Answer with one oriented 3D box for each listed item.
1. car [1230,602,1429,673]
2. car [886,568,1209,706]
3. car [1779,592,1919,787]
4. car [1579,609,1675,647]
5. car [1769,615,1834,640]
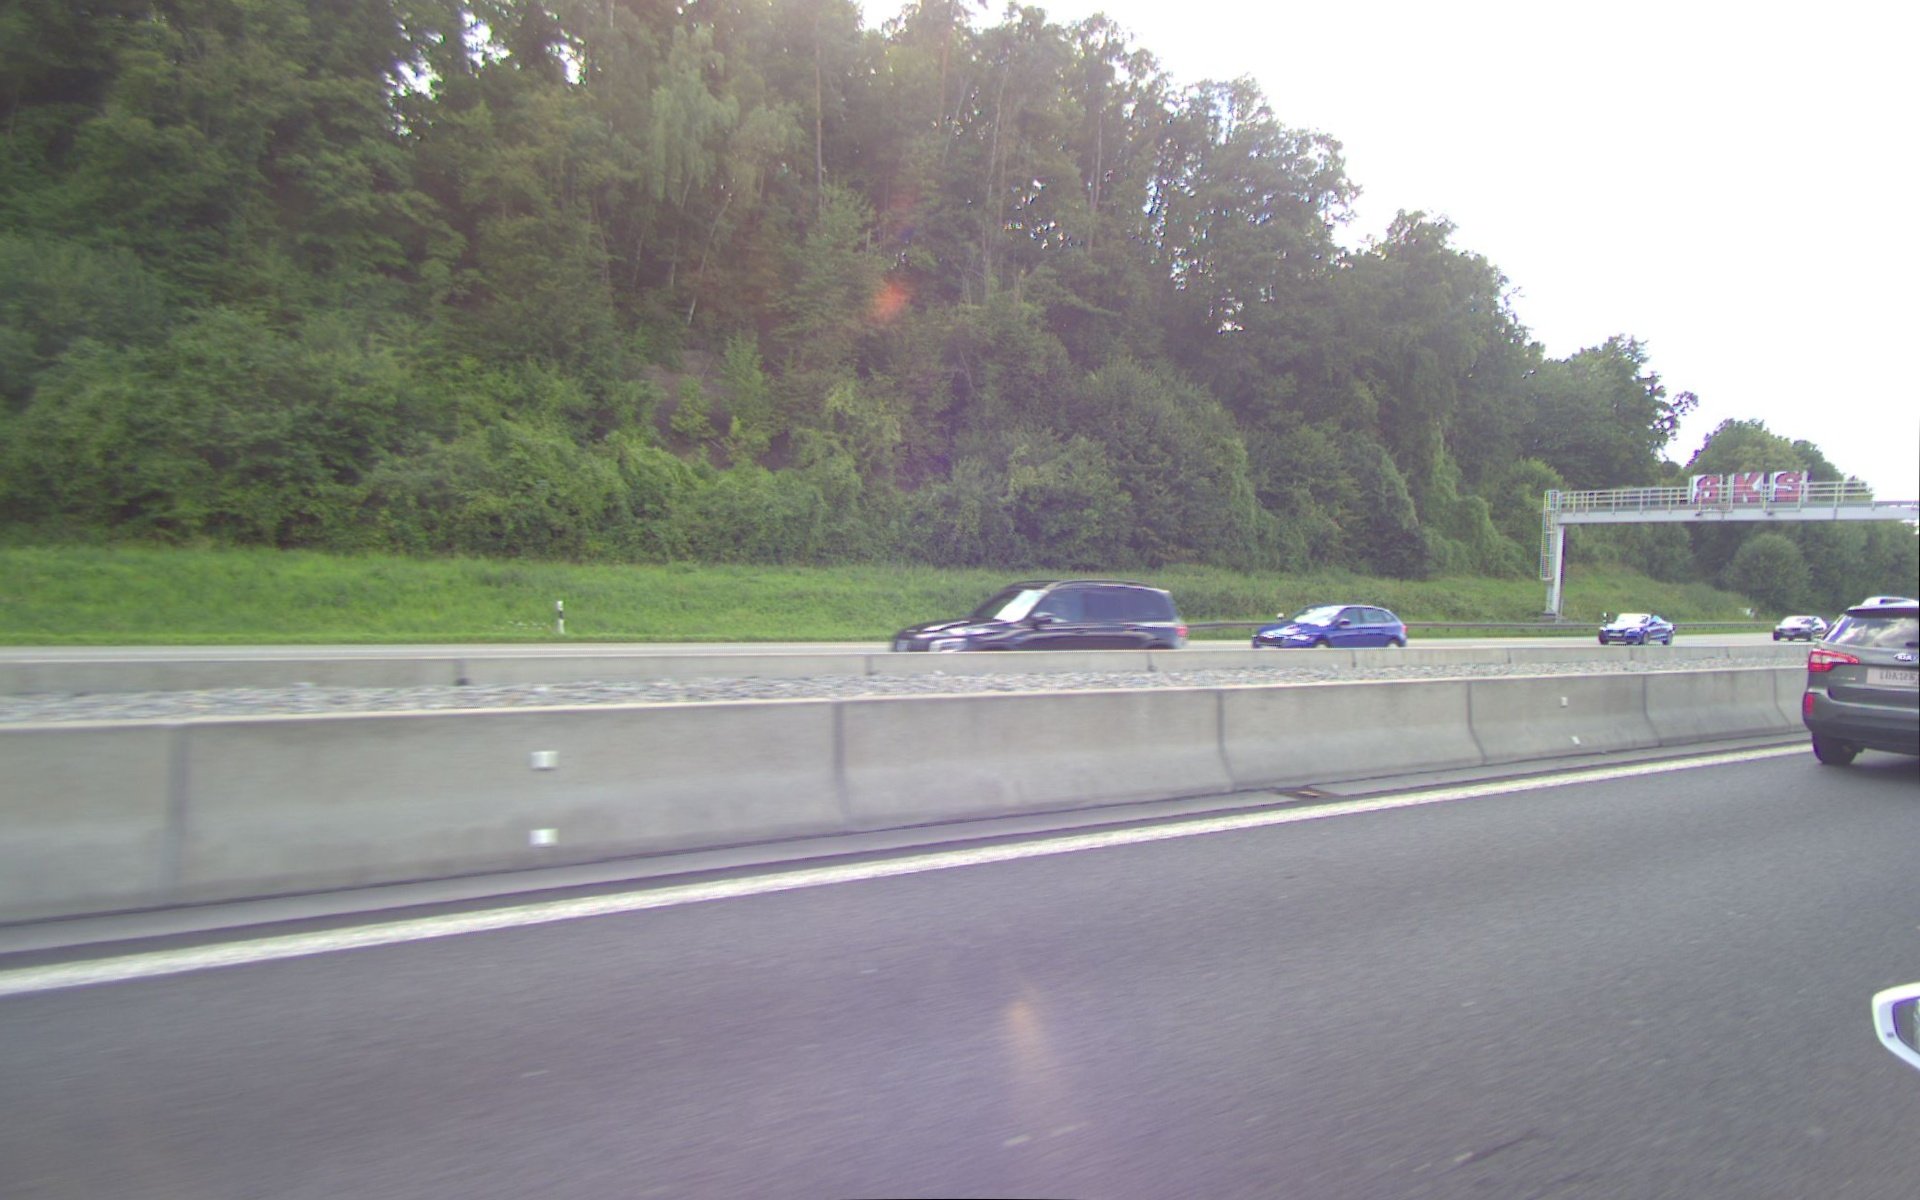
[{"bbox_3d":[9.017,0.886,24.439,4.682,1.560,1.985,1,0,-29],"label":"car"},{"bbox_3d":[1.279,0.488,14.315,4.262,1.720,1.868,1,0,-29],"label":"car"},{"bbox_3d":[10.818,0.854,10.550,5.127,1.759,1.808,1,0,-31],"label":"car"},{"bbox_3d":[29.571,1.233,44.522,4.507,1.595,1.795,1,0,-32],"label":"car"},{"bbox_3d":[47.953,1.541,57.211,4.145,1.329,1.811,1,0,-35],"label":"car"}]
